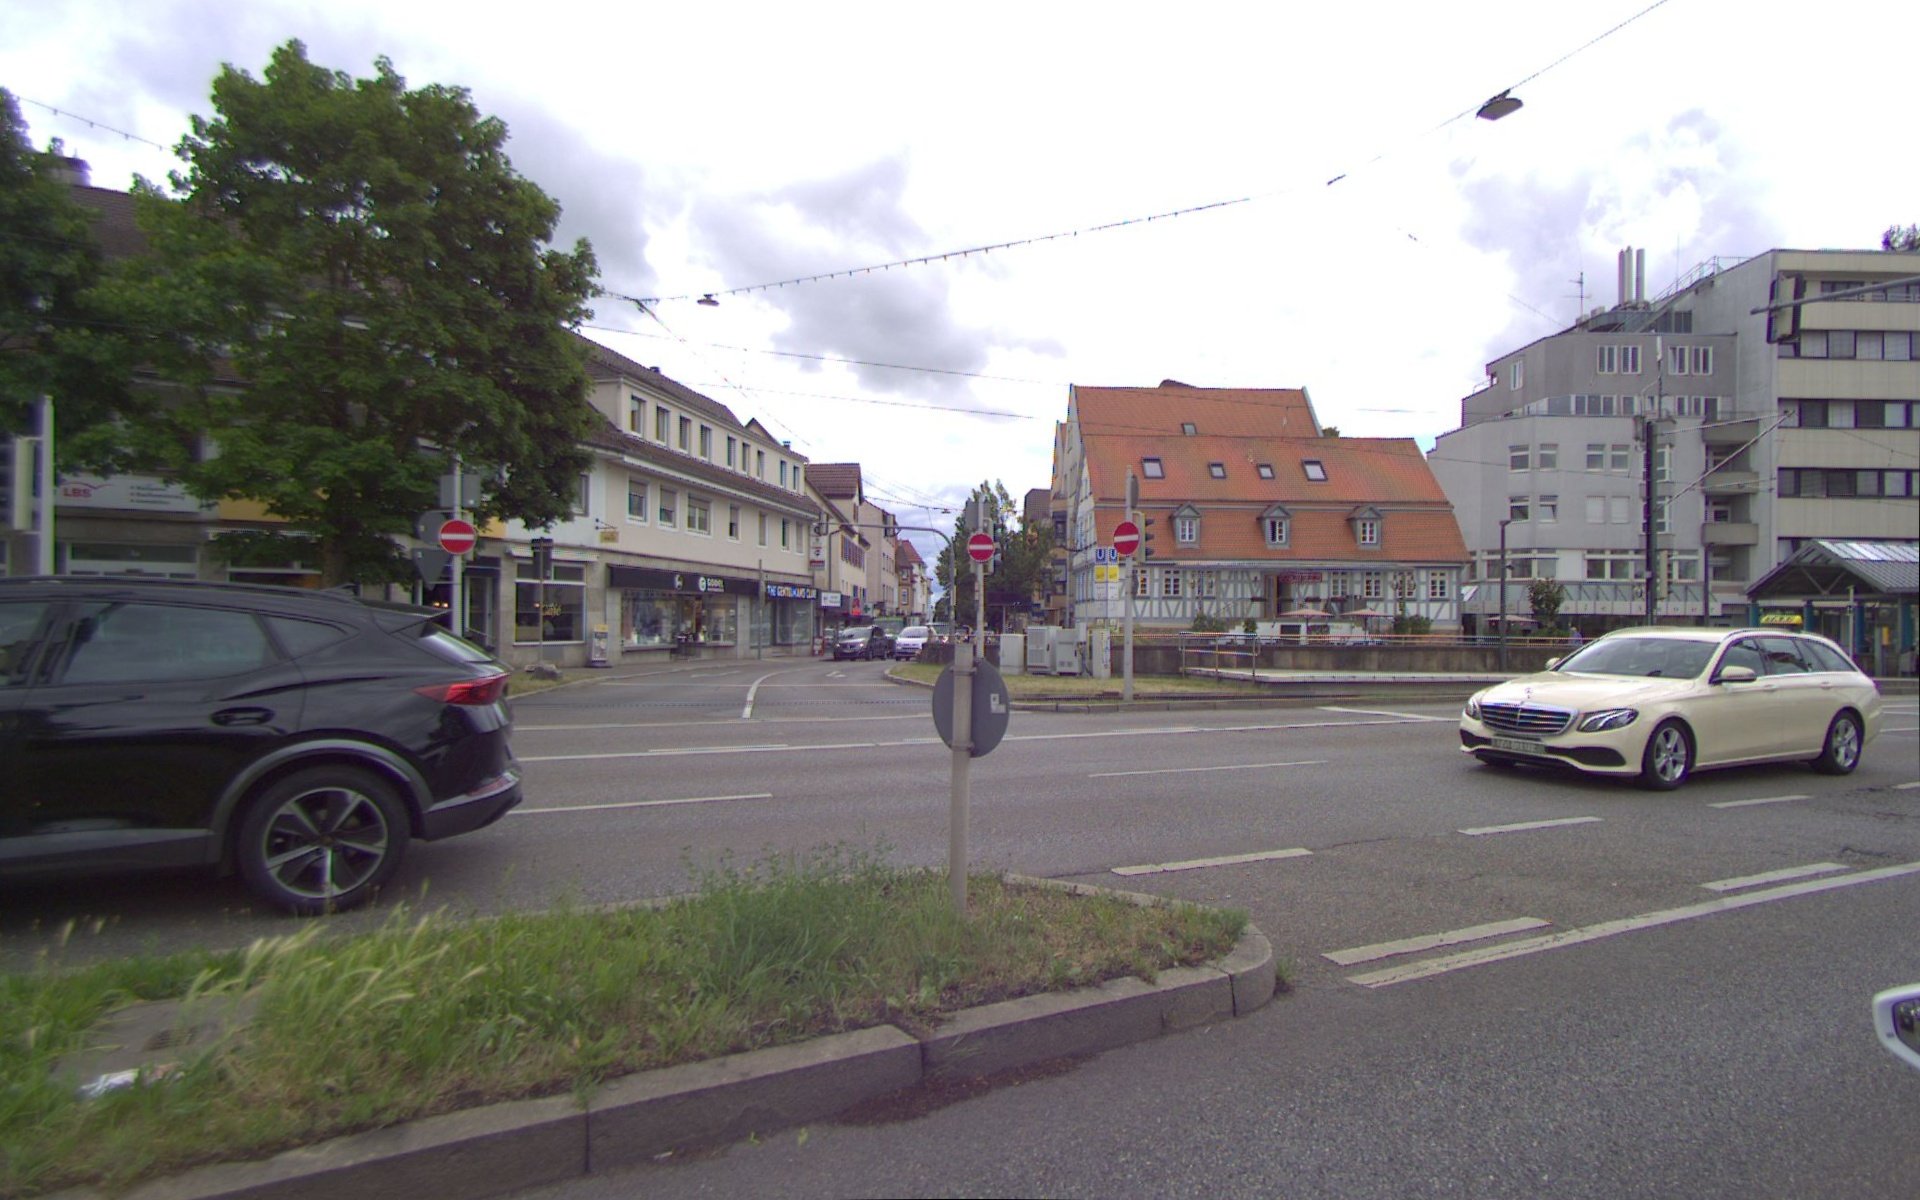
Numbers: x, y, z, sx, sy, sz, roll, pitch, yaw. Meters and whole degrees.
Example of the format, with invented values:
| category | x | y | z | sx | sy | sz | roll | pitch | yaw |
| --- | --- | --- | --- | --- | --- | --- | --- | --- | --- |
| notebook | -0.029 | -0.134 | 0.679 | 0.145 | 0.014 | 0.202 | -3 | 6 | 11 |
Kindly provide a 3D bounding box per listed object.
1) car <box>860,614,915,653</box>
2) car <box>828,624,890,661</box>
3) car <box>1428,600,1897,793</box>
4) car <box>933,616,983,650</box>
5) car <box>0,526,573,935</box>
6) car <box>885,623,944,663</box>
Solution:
| category | x | y | z | sx | sy | sz | roll | pitch | yaw |
| --- | --- | --- | --- | --- | --- | --- | --- | --- | --- |
| car | -4.050 | 1.849 | 56.835 | 2.200 | 2.090 | 4.409 | -1 | 0 | 7 |
| car | -4.830 | 2.019 | 48.421 | 1.815 | 1.606 | 3.608 | 0 | 0 | 15 |
| car | 7.343 | 0.913 | 10.446 | 4.767 | 1.639 | 1.892 | 2 | -1 | -25 |
| car | -0.084 | 1.740 | 54.090 | 1.815 | 1.606 | 3.608 | 0 | 2 | 15 |
| car | -4.244 | 0.536 | 4.901 | 4.220 | 1.639 | 1.891 | 2 | -2 | -27 |
| car | -2.110 | 2.002 | 47.576 | 1.815 | 1.606 | 3.608 | 0 | 2 | 15 |
